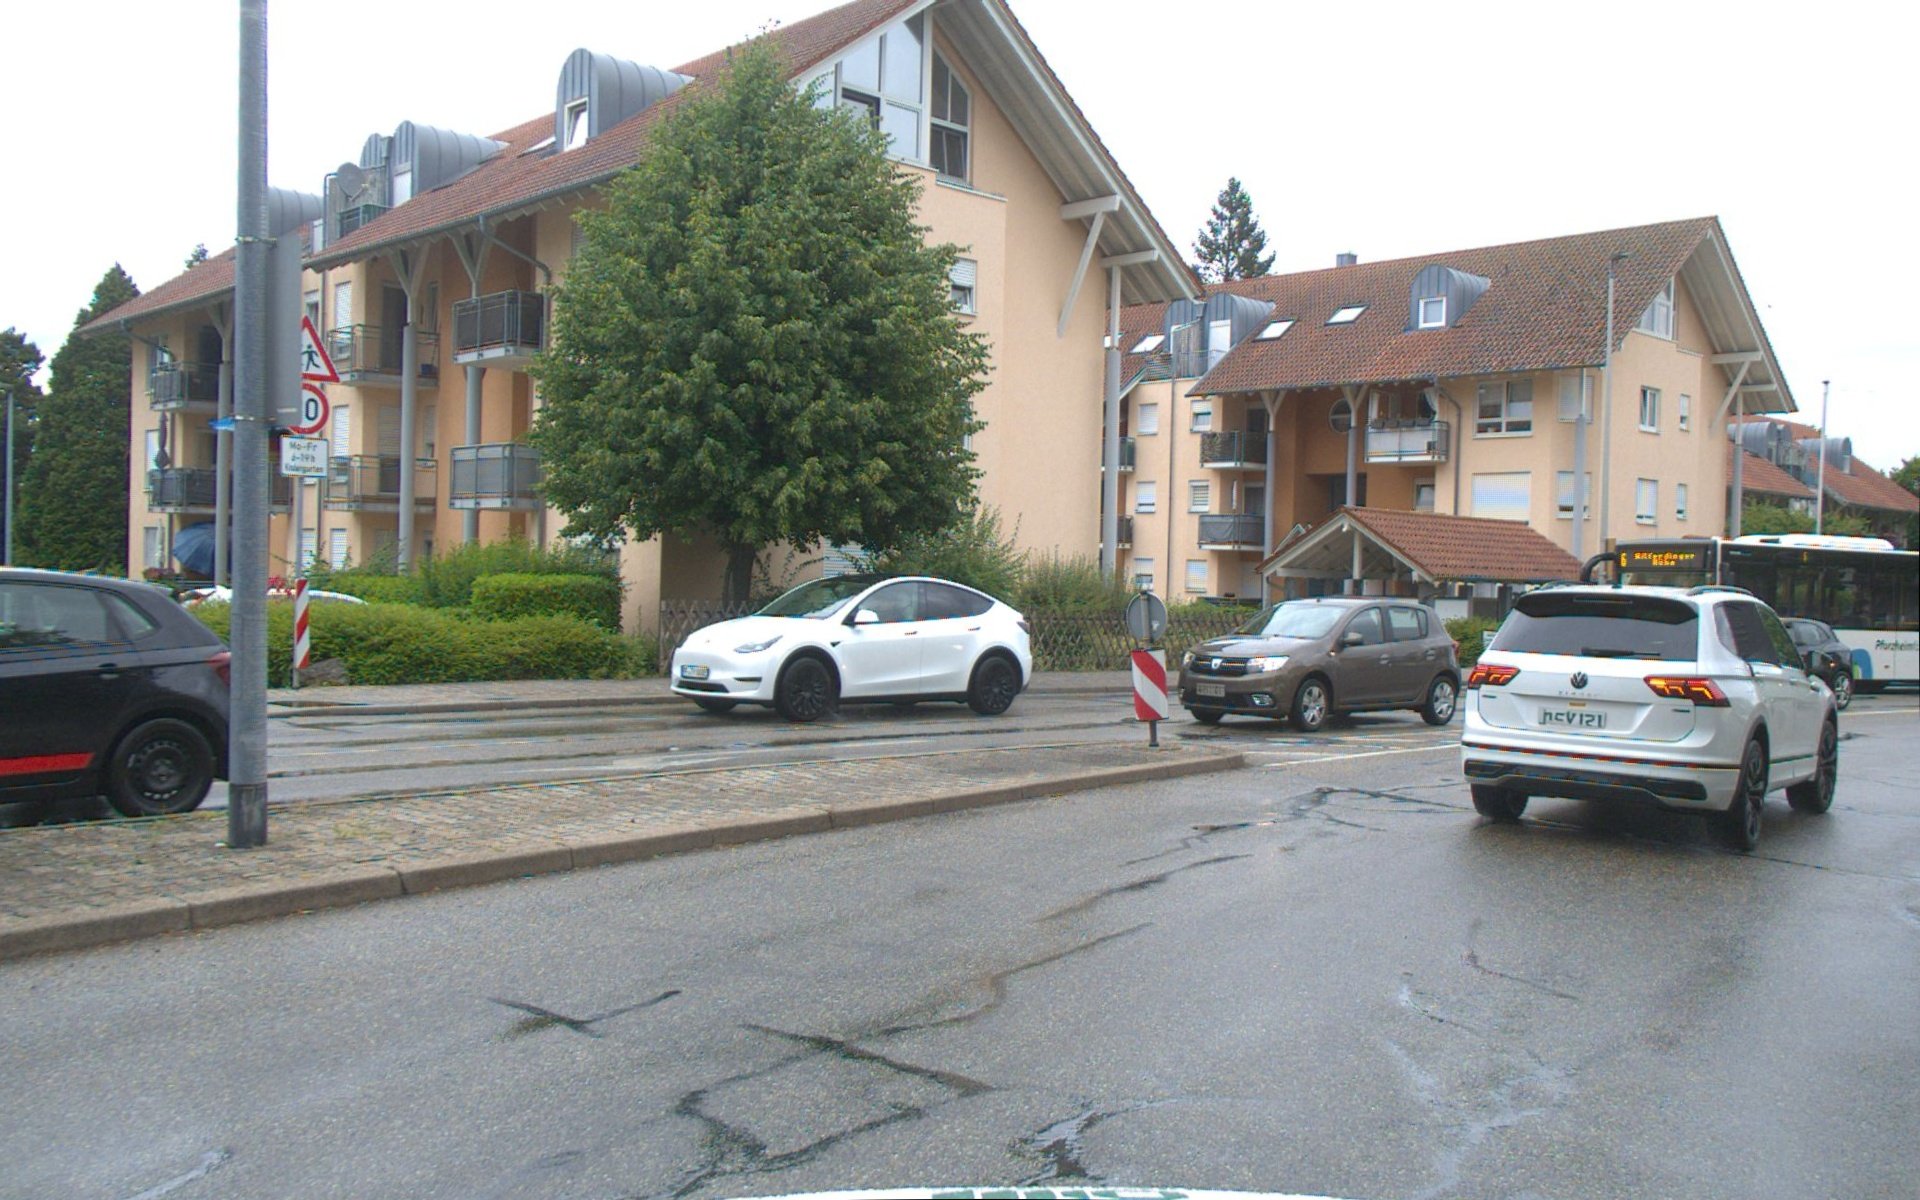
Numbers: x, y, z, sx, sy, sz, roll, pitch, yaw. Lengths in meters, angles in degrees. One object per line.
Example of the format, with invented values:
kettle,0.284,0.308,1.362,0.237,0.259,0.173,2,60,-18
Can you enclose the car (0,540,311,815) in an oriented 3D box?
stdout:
car,-5.923,0.400,8.945,1.788,1.433,4.181,1,1,40

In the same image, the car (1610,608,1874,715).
car,12.377,0.934,26.119,4.122,1.545,1.935,1,0,-33

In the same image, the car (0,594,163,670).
car,-29.481,1.021,53.629,5.971,2.239,2.808,3,-1,-43

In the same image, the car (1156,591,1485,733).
car,4.369,0.720,19.788,3.898,1.513,1.803,2,0,-39

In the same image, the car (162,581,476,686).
car,-9.718,0.492,25.228,4.158,1.464,1.798,1,-1,-38

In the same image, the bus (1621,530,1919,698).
bus,17.510,0.281,33.102,9.059,3.053,2.534,0,0,-26

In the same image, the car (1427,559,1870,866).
car,5.161,0.681,12.051,1.890,1.752,4.246,3,1,38

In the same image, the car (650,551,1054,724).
car,-1.161,0.373,19.410,4.565,1.755,1.923,0,2,-44
